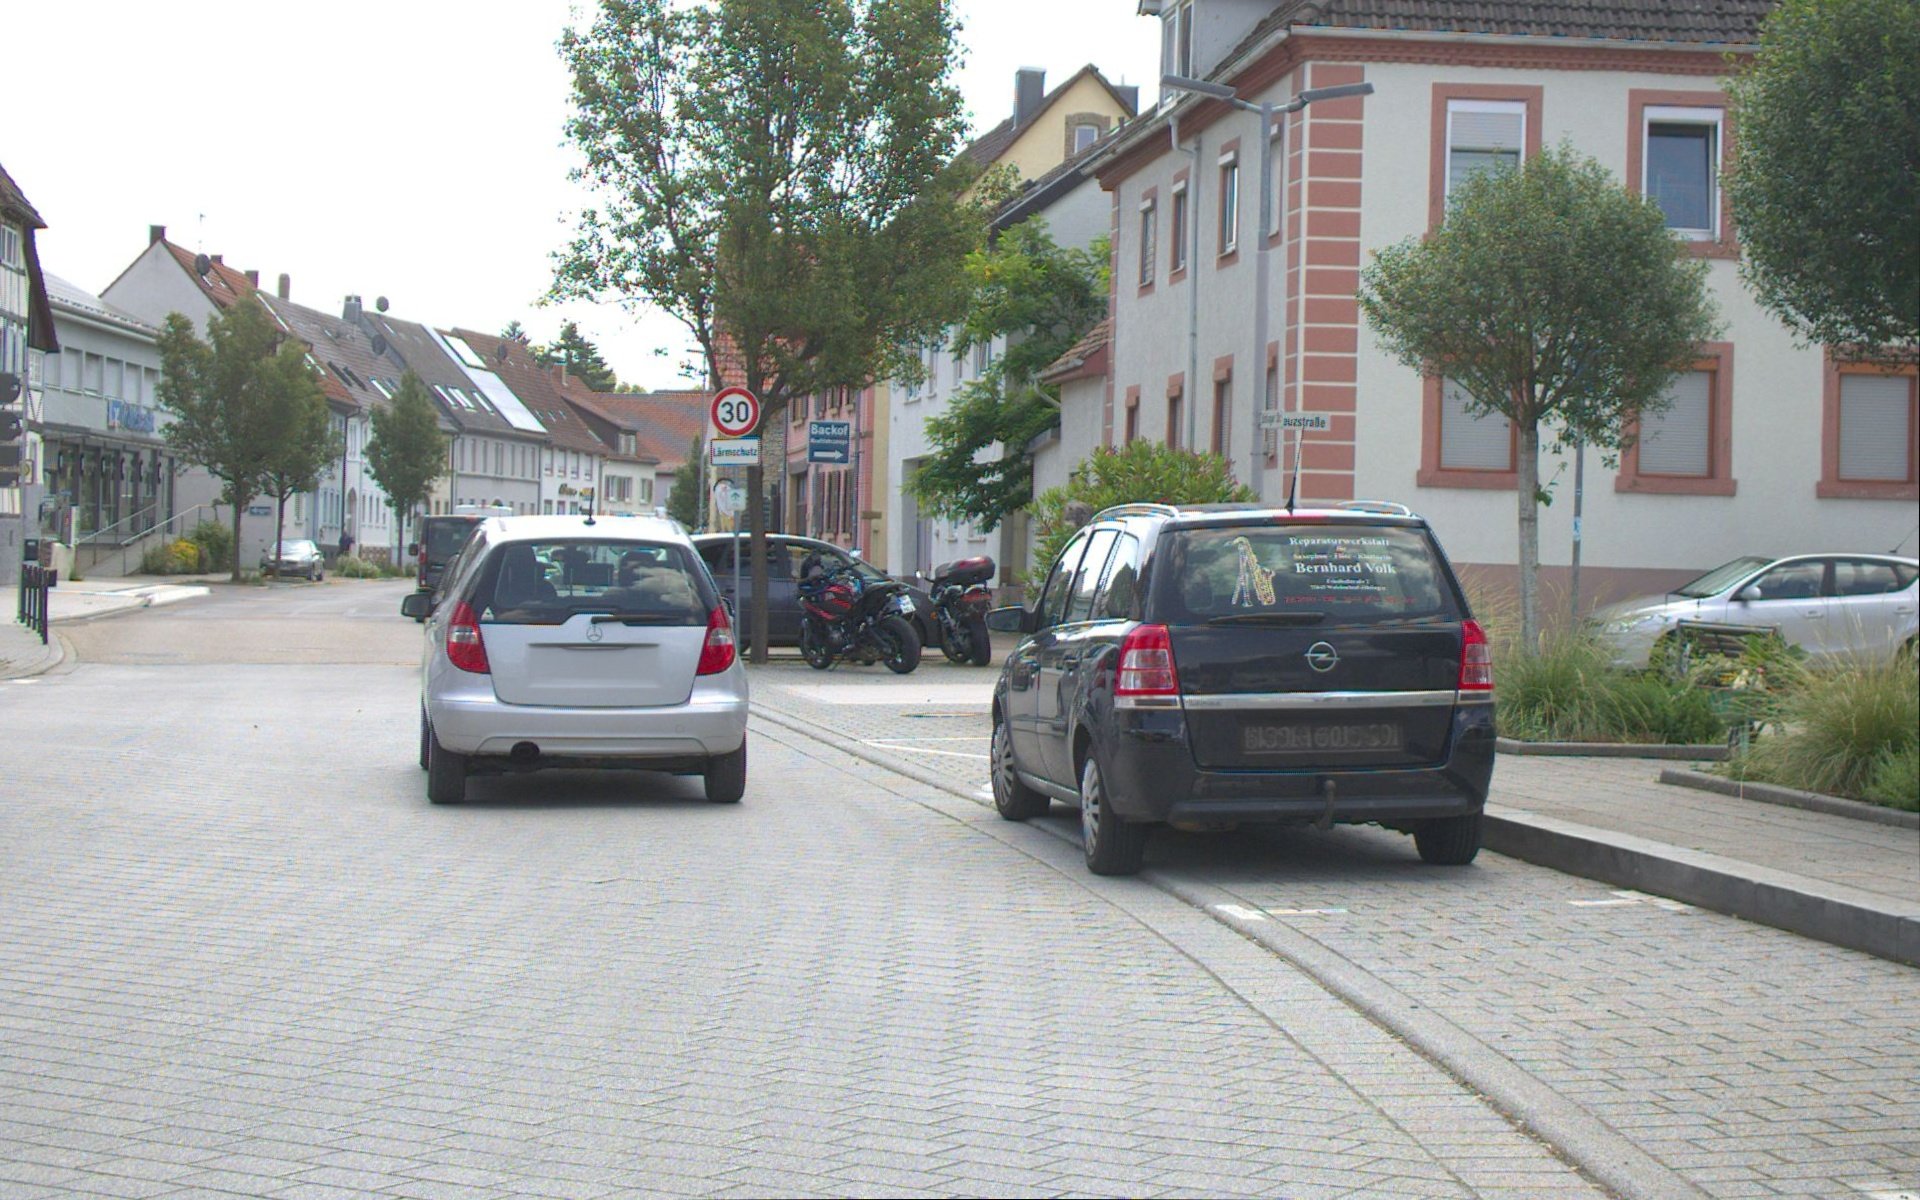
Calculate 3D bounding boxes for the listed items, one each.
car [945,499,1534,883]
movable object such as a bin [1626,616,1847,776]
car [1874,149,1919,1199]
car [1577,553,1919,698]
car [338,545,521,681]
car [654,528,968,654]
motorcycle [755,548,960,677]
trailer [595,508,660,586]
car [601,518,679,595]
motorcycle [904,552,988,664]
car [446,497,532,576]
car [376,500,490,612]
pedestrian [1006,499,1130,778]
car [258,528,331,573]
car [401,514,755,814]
[{"bbox_3d":[1.150,0.344,16.329,1.768,1.559,4.419,1,1,-9],"label":"car"},{"bbox_3d":[4.542,0.548,20.199,0.734,0.863,1.436,2,1,-10],"label":"movable object such as a bin"},{"bbox_3d":[3.066,0.264,4.304,1.942,2.170,5.102,-1,1,-7],"label":"car"},{"bbox_3d":[8.841,0.263,37.008,3.993,1.468,1.825,1,1,-2],"label":"car"},{"bbox_3d":[-6.050,0.114,39.439,1.944,1.402,4.001,1,1,-8],"label":"car"},{"bbox_3d":[-1.962,-0.142,44.651,3.847,1.572,1.851,-1,1,-11],"label":"car"},{"bbox_3d":[-1.171,0.123,38.869,2.223,1.390,0.871,2,1,36],"label":"motorcycle"},{"bbox_3d":[-10.308,-1.657,106.407,1.844,2.346,3.590,1,1,-8],"label":"trailer"},{"bbox_3d":[-8.571,-1.173,91.764,1.891,1.975,4.932,-1,1,-7],"label":"car"},{"bbox_3d":[-0.158,0.079,41.142,0.959,1.294,2.226,0,1,0],"label":"motorcycle"},{"bbox_3d":[-13.608,-1.803,99.539,2.235,2.215,4.001,0,0,-5],"label":"car"},{"bbox_3d":[-9.638,-0.798,63.137,1.768,1.881,4.448,4,0,-6],"label":"car"},{"bbox_3d":[0.635,0.220,20.408,0.639,1.623,0.620,1,1,-5],"label":"pedestrian"},{"bbox_3d":[-22.747,-1.695,117.647,1.804,1.455,4.158,2,1,-2],"label":"car"},{"bbox_3d":[-2.350,0.295,20.297,1.768,1.589,4.001,0,1,-11],"label":"car"}]
